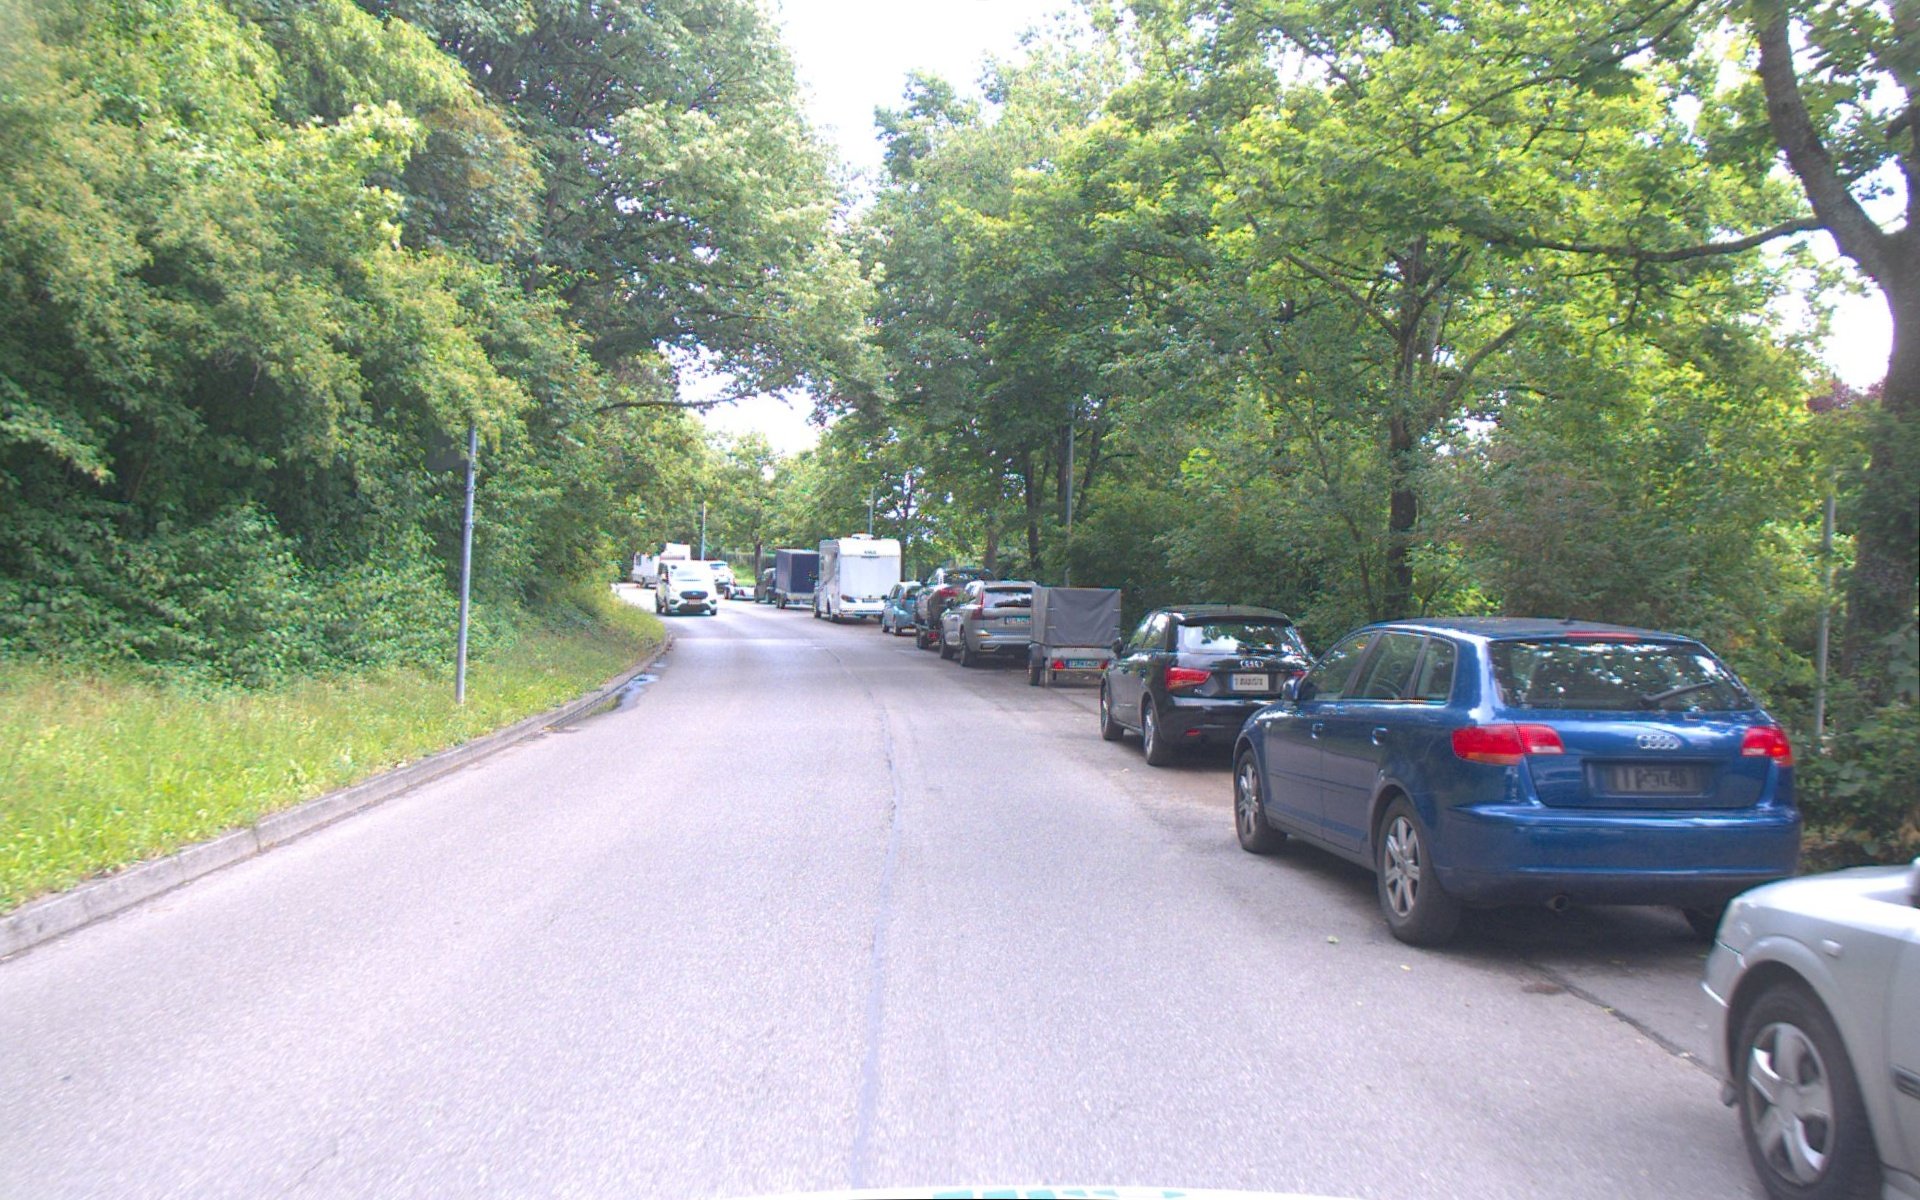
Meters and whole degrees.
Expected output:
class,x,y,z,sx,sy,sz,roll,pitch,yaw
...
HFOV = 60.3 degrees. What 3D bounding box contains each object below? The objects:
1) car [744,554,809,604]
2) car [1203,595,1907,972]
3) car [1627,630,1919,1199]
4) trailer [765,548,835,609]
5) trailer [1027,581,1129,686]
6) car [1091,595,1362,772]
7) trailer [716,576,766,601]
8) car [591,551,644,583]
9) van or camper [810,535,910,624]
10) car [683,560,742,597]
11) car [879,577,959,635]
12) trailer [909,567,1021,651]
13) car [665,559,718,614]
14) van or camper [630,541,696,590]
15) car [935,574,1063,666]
class,x,y,z,sx,sy,sz,roll,pitch,yaw
car,-8.321,-0.962,74.648,1.965,2.061,3.976,-2,3,-21
car,2.773,0.752,8.958,1.811,1.500,4.473,2,0,-6
car,3.035,0.881,3.010,1.776,1.462,4.241,3,0,-2
trailer,-6.735,-0.922,69.395,1.964,2.440,3.976,1,1,-20
trailer,1.905,0.515,27.149,1.254,1.612,2.458,2,0,-5
car,2.475,0.728,16.320,1.687,1.478,3.913,2,0,-5
trailer,-10.388,-0.565,78.251,1.626,1.105,3.980,-1,2,-18
car,-21.552,-2.089,104.026,1.976,1.901,3.955,-2,3,-33
van or camper,-3.658,-0.731,59.046,2.439,2.926,6.868,1,1,-13
car,-13.056,-1.147,87.137,2.010,1.835,4.050,0,1,-26
car,-1.258,0.146,48.844,1.767,1.589,3.826,1,1,-11
trailer,0.040,0.156,39.572,1.942,1.843,5.140,1,1,-8
car,-10.346,-0.542,63.888,1.911,2.019,4.493,2,1,-9
van or camper,-17.068,-2.008,94.804,2.498,2.744,4.534,0,2,-28
car,0.701,0.400,33.451,1.759,1.699,4.491,1,-1,-10
